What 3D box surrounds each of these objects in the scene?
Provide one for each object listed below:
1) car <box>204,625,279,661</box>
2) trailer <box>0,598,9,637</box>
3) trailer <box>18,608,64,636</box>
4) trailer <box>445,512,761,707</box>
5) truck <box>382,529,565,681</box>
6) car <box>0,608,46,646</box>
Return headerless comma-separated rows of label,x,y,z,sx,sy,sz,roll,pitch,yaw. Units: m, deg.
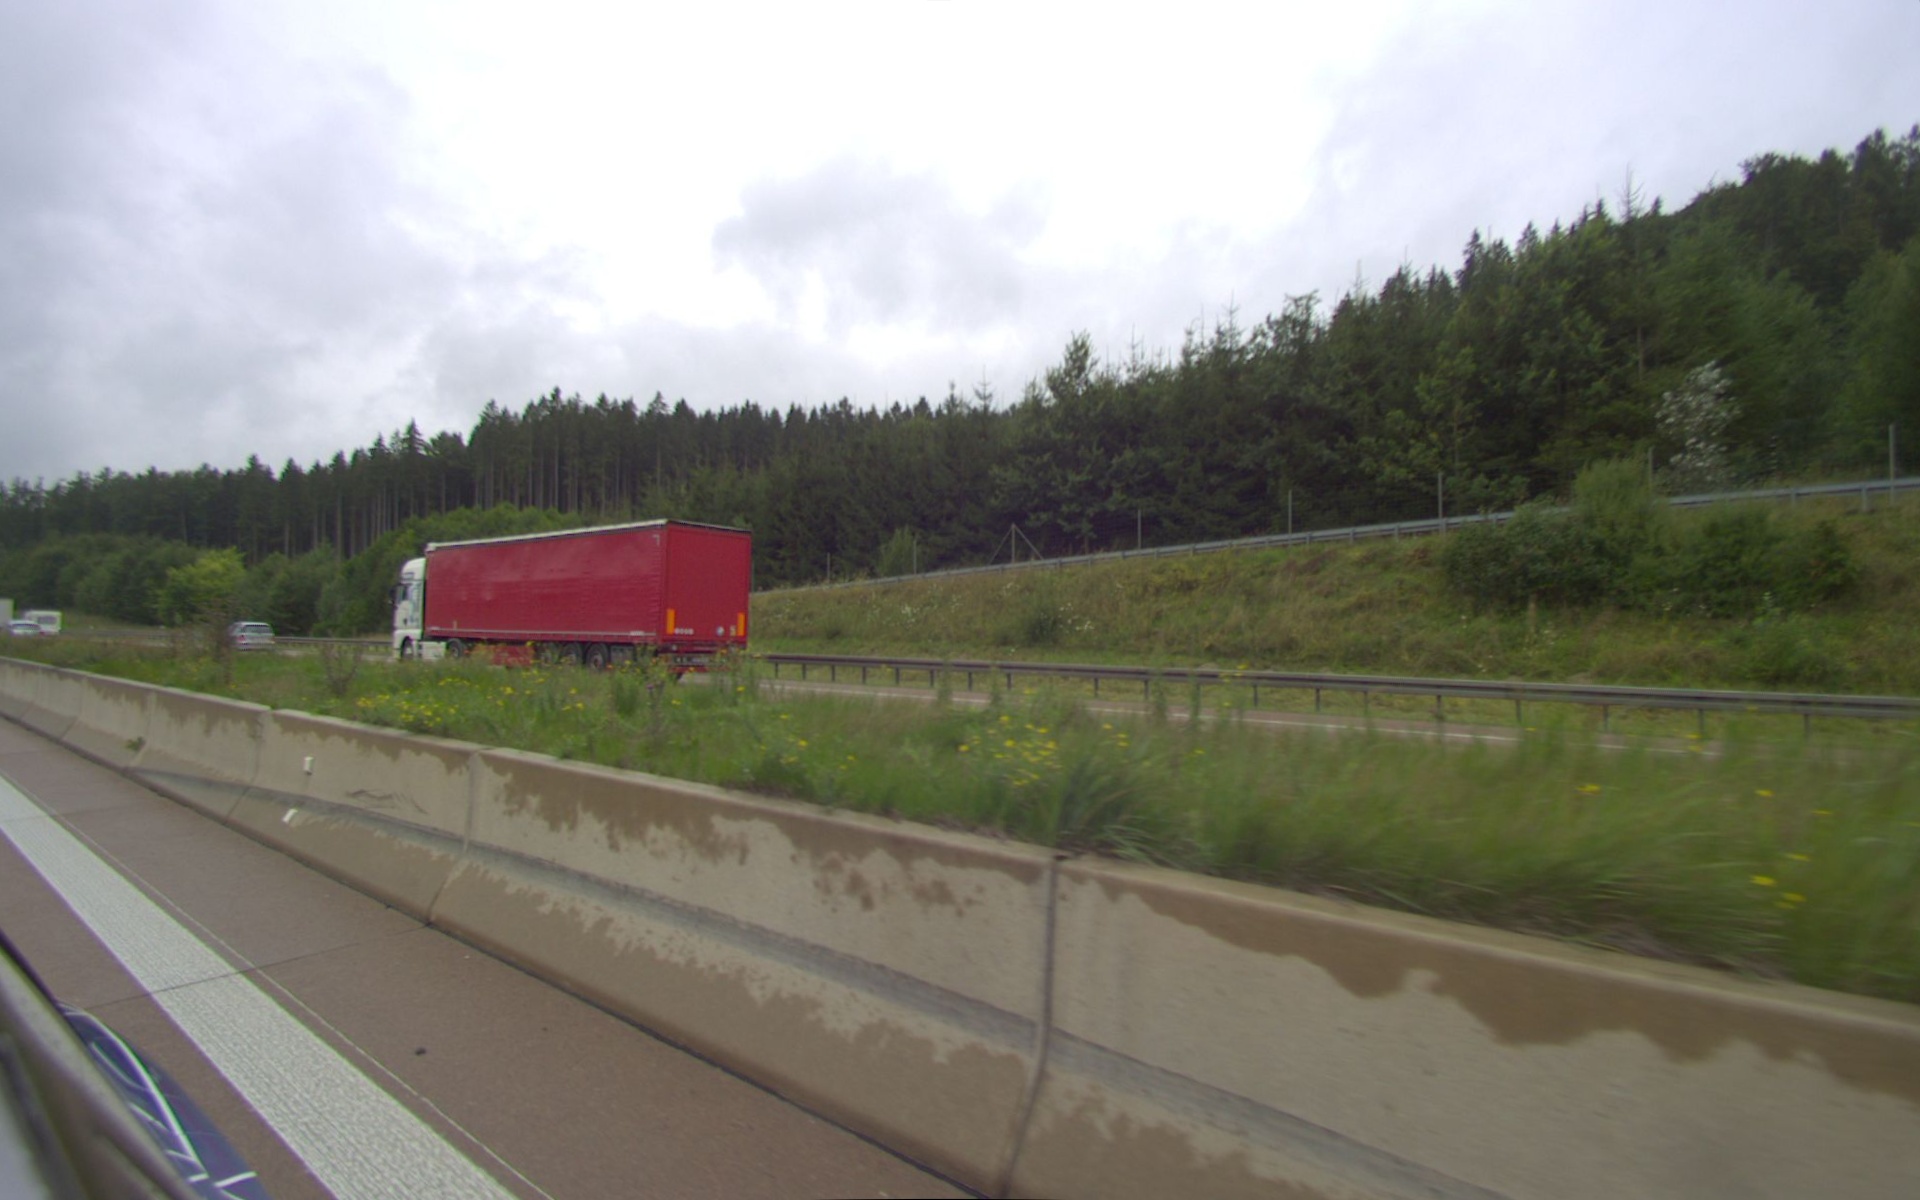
car,-35.381,2.056,49.815,4.522,1.587,1.973,0,-1,41
trailer,-109.178,1.855,113.088,12.746,4.171,2.711,0,-2,40
trailer,-82.366,2.000,90.710,5.433,2.430,2.254,-2,-4,40
trailer,-10.445,0.185,28.403,11.768,4.522,2.911,0,1,41
truck,-16.110,0.122,33.303,6.788,4.511,2.920,0,1,41
car,-49.573,1.381,53.099,4.408,1.798,1.686,0,1,39
